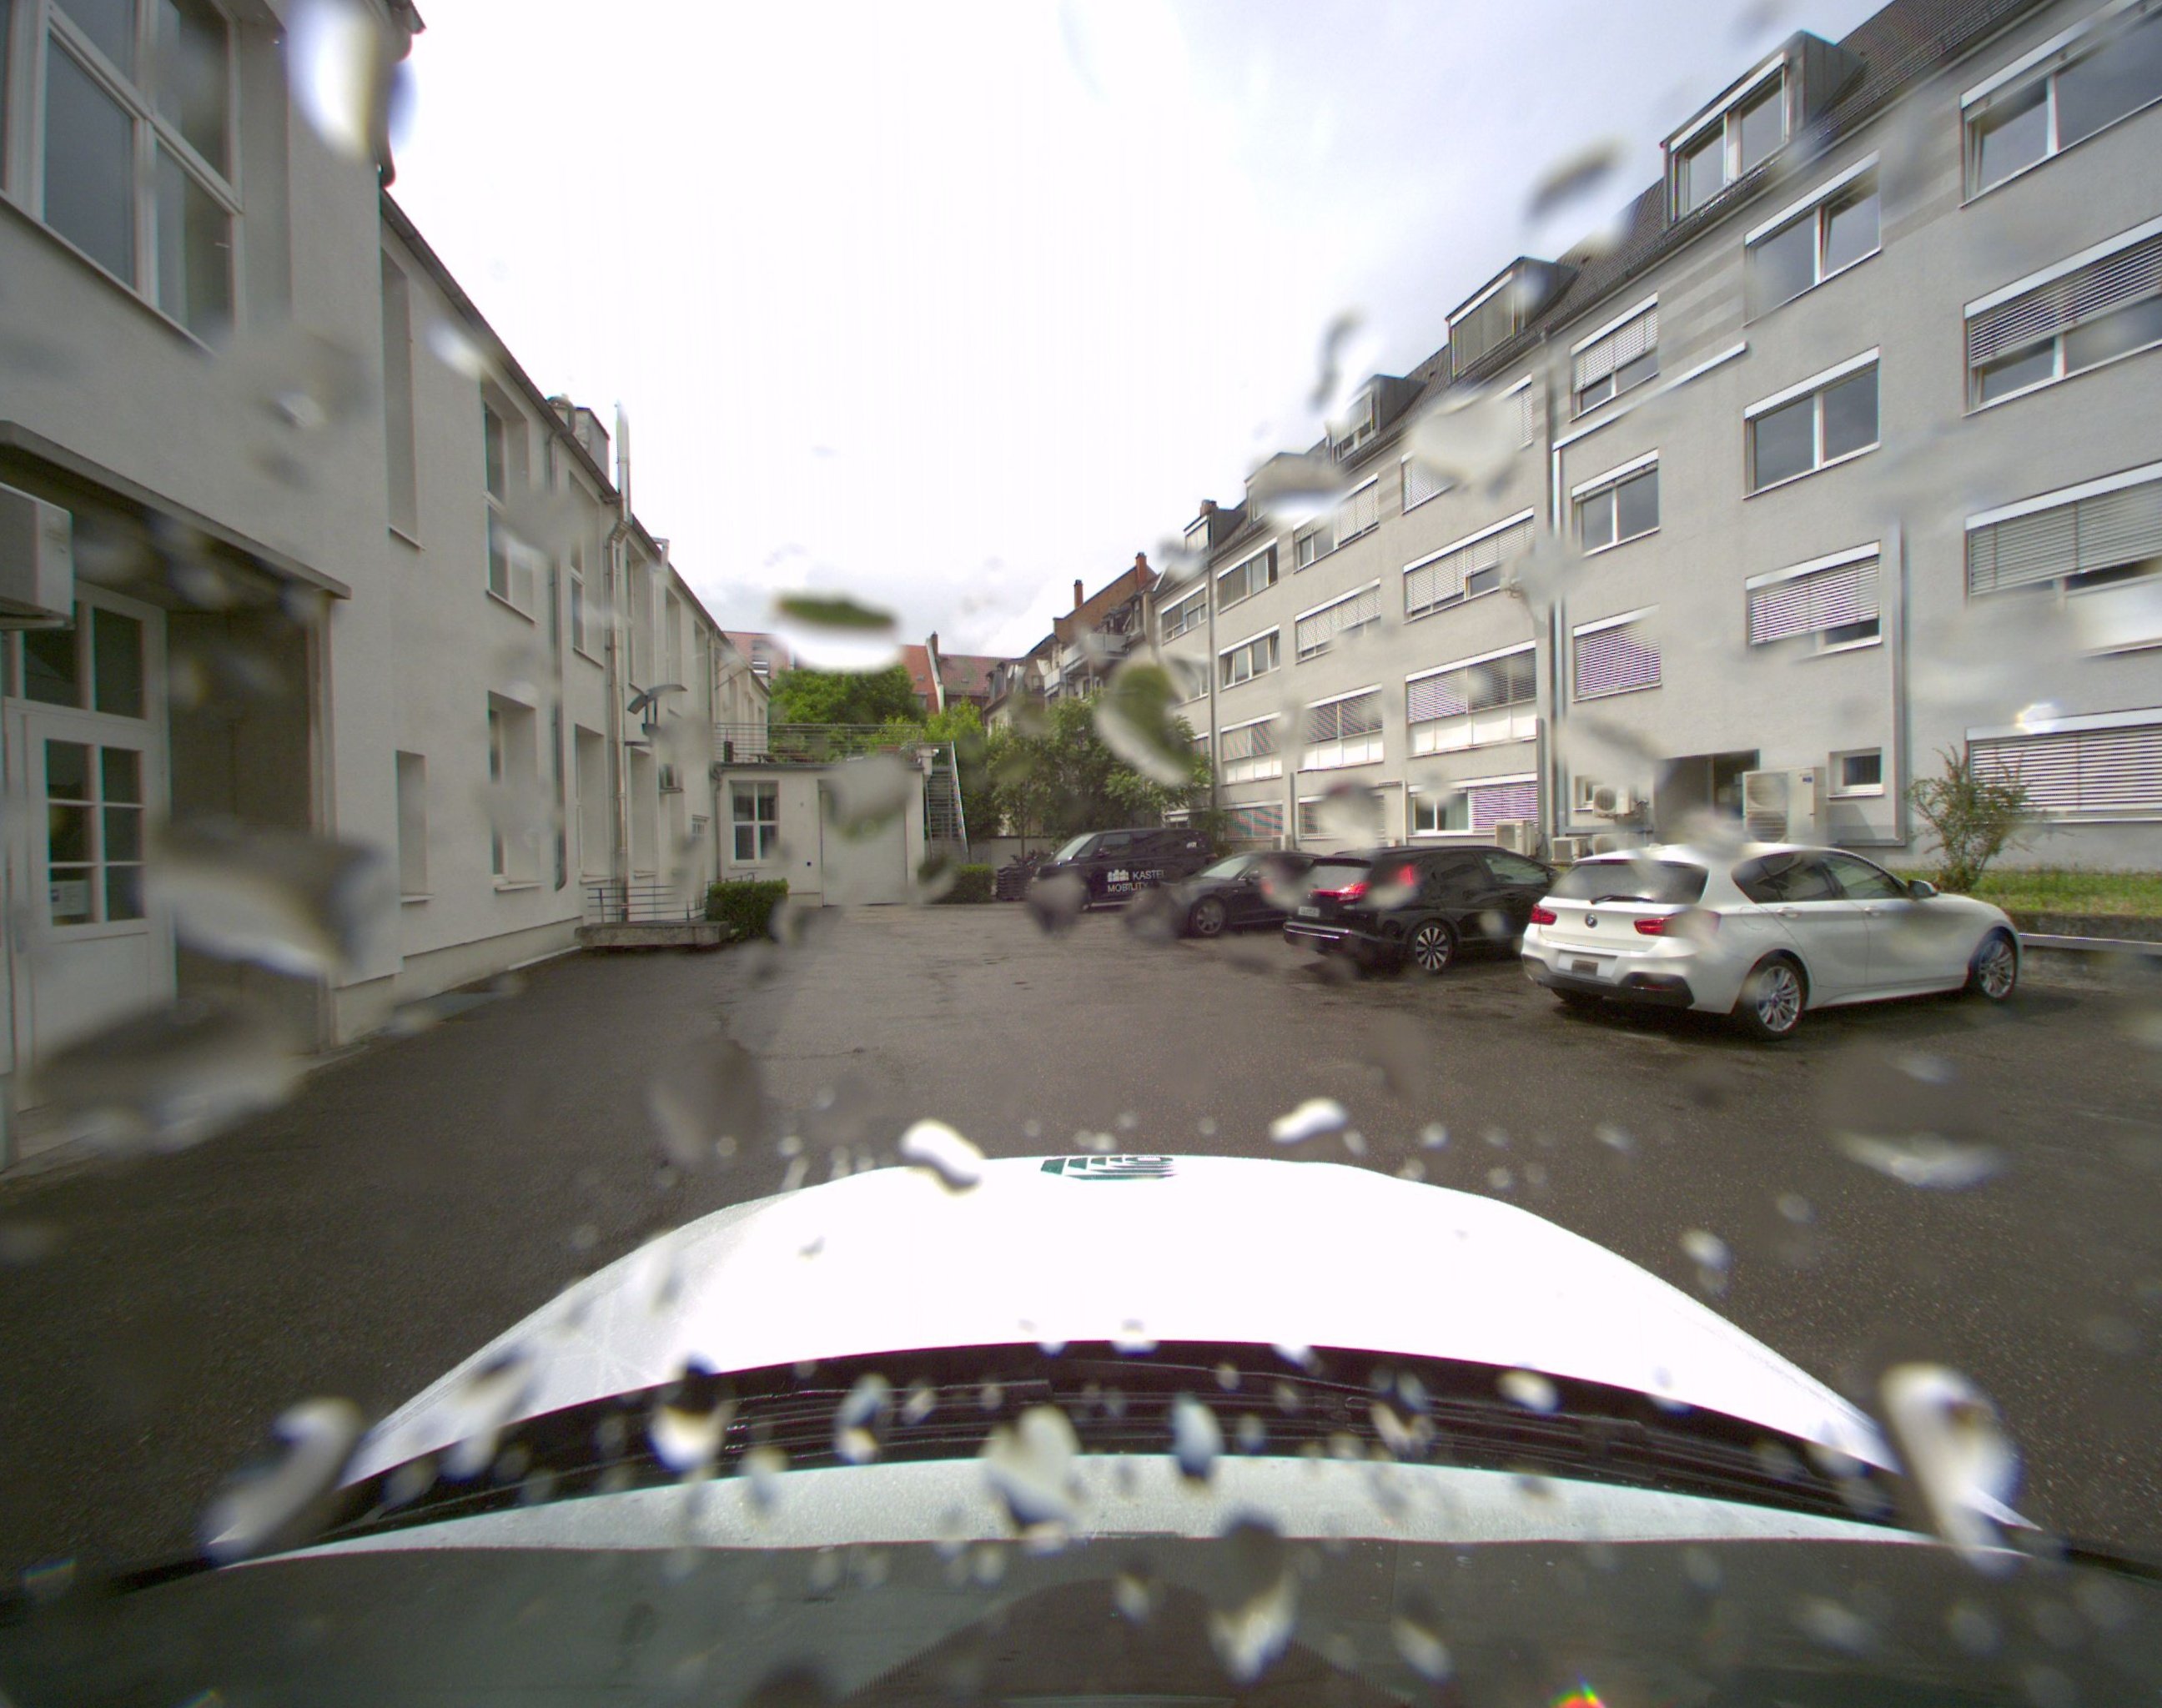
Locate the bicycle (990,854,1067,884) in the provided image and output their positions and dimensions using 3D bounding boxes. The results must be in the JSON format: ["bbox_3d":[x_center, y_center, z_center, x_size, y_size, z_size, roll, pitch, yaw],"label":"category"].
[{"bbox_3d":[-1.989,0.555,30.971,2.850,1.078,0.685,0,1,-17],"label":"bicycle"}]

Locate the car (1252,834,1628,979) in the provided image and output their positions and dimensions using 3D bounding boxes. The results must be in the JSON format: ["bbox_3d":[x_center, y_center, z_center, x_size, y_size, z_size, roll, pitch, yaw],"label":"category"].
[{"bbox_3d":[4.505,0.539,10.287,4.186,1.401,1.926,-3,0,-21],"label":"car"}]

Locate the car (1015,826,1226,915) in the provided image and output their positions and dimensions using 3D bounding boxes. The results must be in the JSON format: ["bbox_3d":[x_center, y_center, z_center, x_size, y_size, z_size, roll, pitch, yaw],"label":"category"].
[{"bbox_3d":[0.959,0.336,20.055,4.727,1.833,2.096,-3,1,-21],"label":"car"}]

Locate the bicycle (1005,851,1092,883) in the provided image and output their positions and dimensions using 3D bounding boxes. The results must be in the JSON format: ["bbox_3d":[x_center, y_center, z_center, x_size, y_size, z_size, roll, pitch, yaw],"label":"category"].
[{"bbox_3d":[-1.109,0.435,28.196,2.930,1.078,0.685,0,1,-17],"label":"bicycle"}]

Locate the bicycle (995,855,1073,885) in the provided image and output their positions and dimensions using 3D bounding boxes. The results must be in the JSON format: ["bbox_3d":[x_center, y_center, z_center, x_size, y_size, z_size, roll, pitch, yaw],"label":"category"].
[{"bbox_3d":[-1.739,0.584,30.312,2.850,1.078,0.685,0,1,-17],"label":"bicycle"}]

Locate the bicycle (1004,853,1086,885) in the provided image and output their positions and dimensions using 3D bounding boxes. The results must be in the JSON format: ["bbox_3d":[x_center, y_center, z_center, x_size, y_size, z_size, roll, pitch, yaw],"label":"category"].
[{"bbox_3d":[-1.262,0.511,28.962,2.850,1.078,0.685,0,1,-17],"label":"bicycle"}]

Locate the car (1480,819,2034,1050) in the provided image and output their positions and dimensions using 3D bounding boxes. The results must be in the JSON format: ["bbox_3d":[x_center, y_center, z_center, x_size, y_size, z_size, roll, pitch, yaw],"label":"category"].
[{"bbox_3d":[5.825,0.520,7.096,4.110,1.455,1.822,-3,1,-19],"label":"car"}]

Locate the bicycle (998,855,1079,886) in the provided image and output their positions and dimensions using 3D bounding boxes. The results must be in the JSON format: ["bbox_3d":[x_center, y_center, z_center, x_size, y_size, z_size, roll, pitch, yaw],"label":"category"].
[{"bbox_3d":[-1.541,0.600,29.630,2.850,1.078,0.685,0,1,-17],"label":"bicycle"}]

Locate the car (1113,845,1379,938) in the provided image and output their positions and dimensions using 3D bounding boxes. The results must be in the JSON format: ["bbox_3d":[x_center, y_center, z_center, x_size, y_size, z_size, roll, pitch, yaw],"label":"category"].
[{"bbox_3d":[2.945,0.578,14.585,4.370,1.348,1.847,-2,1,-21],"label":"car"}]
